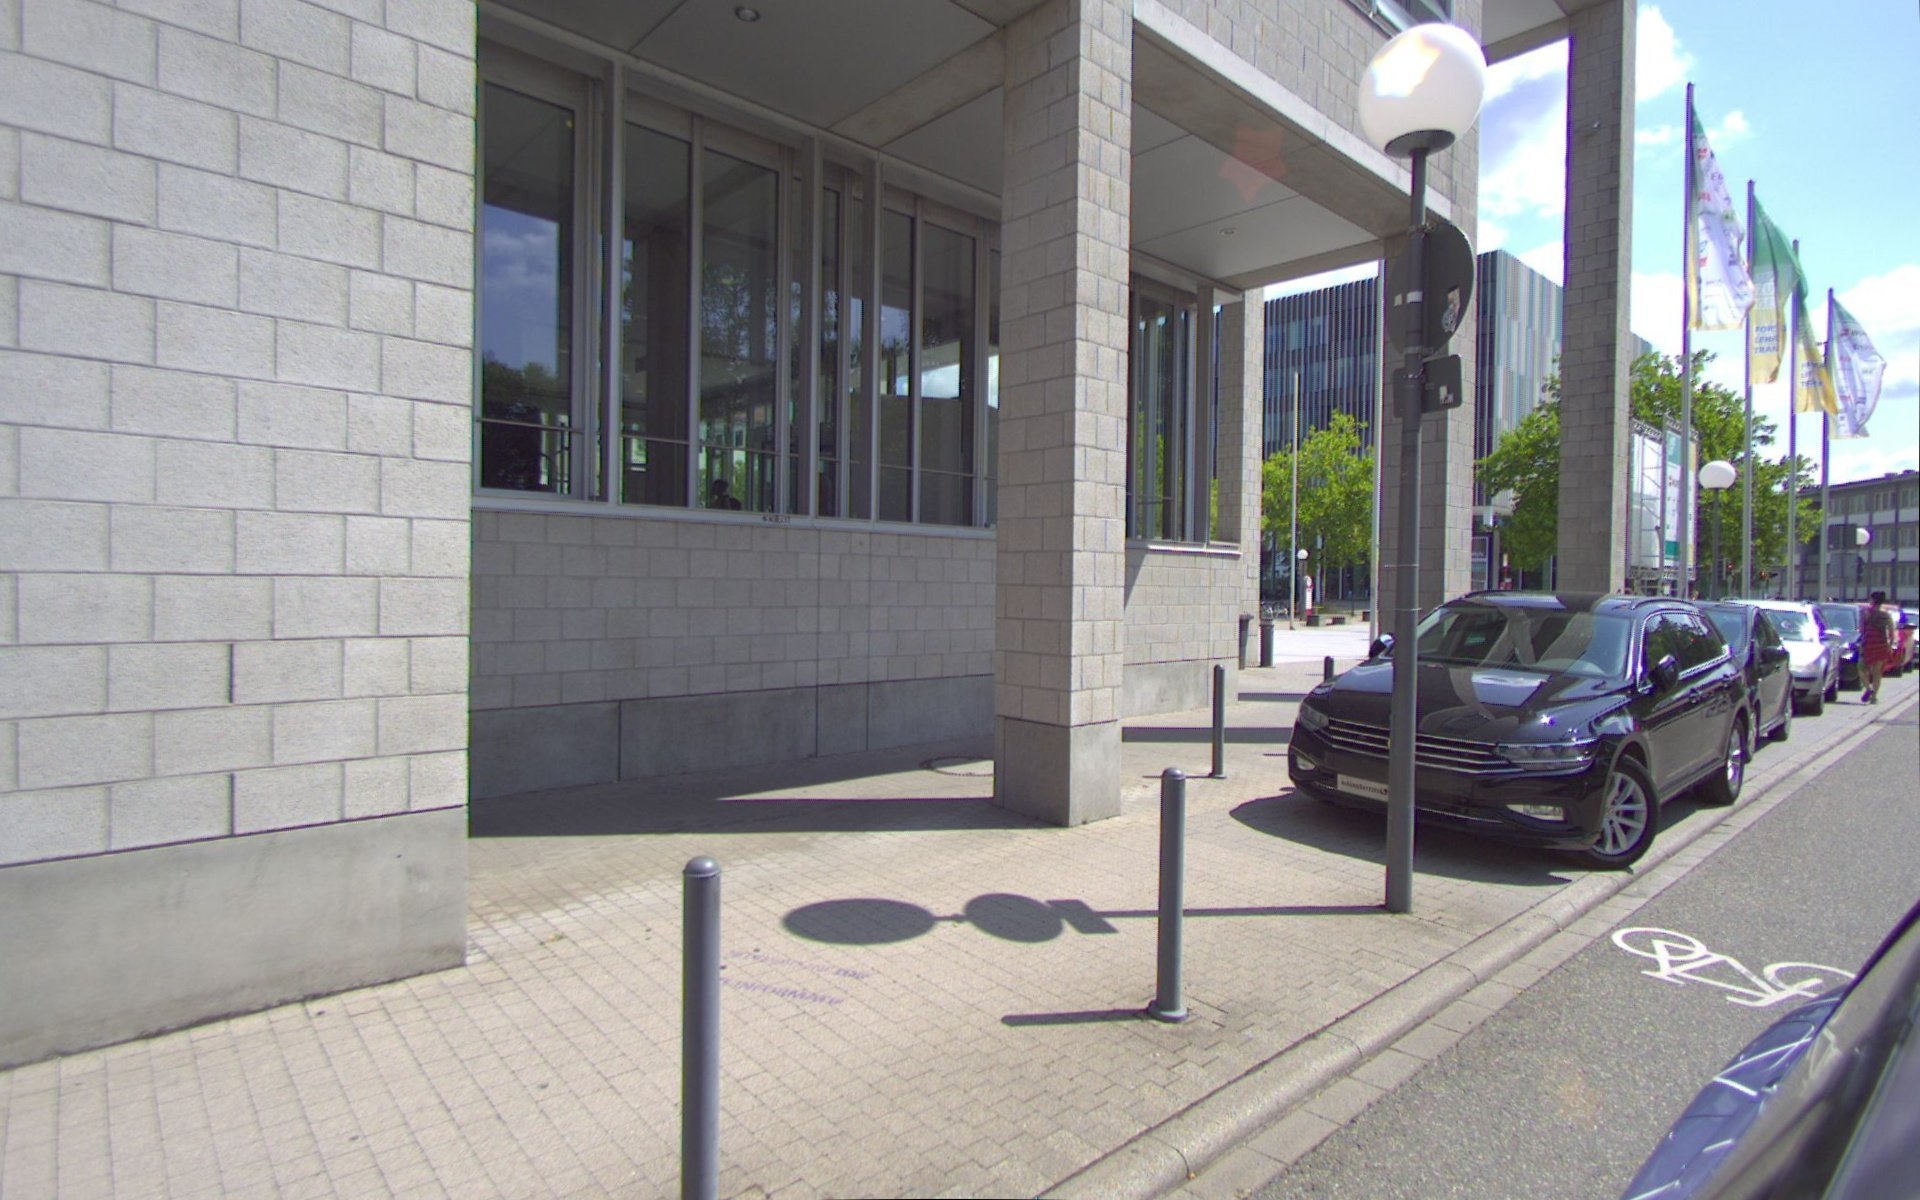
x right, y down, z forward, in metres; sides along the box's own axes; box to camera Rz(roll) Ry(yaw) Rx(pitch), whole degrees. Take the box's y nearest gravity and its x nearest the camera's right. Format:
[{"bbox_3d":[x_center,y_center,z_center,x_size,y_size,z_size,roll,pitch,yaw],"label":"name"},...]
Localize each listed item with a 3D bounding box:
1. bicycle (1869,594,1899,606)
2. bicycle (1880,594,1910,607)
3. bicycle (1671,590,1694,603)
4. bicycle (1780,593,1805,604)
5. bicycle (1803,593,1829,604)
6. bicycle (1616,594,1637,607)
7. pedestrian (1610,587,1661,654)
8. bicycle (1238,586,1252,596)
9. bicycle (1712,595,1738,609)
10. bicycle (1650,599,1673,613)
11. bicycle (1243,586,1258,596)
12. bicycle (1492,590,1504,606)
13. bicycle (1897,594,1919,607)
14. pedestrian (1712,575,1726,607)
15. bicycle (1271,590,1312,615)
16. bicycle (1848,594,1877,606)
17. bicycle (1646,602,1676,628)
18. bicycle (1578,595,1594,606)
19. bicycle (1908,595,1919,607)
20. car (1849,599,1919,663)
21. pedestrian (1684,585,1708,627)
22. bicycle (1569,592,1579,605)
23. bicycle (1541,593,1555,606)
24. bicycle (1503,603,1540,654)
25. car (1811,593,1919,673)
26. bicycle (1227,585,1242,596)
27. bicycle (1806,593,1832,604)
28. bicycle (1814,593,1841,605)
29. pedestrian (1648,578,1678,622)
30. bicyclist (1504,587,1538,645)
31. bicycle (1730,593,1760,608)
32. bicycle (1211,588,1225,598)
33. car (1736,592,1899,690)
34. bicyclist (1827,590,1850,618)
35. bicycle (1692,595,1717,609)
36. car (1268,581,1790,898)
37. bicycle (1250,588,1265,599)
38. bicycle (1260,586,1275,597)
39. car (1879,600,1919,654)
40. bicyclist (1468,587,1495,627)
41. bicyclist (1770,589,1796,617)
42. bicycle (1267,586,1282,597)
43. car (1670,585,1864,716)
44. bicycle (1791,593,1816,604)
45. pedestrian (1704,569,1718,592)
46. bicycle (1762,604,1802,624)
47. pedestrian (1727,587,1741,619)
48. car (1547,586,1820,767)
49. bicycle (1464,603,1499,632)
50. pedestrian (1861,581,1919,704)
[{"bbox_3d":[78.240,0.027,85.671,1.752,0.967,0.526,1,3,21],"label":"bicycle"},{"bbox_3d":[77.955,0.046,84.380,1.752,0.967,0.526,1,3,21],"label":"bicycle"},{"bbox_3d":[55.019,-0.253,77.097,0.519,0.967,1.773,0,2,2],"label":"bicycle"},{"bbox_3d":[80.952,-0.152,98.384,1.752,0.967,0.526,1,3,21],"label":"bicycle"},{"bbox_3d":[80.091,-0.122,94.737,1.752,0.967,0.526,1,3,21],"label":"bicycle"},{"bbox_3d":[51.572,0.022,78.330,0.519,0.967,1.772,-2,2,5],"label":"bicycle"},{"bbox_3d":[18.382,0.544,27.544,0.984,1.762,0.919,0,1,-42],"label":"pedestrian"},{"bbox_3d":[27.392,-0.889,97.290,1.515,0.967,0.374,-2,2,-27],"label":"bicycle"},{"bbox_3d":[58.062,0.131,76.789,0.518,0.967,1.775,0,2,-4],"label":"bicycle"},{"bbox_3d":[53.532,0.439,77.222,0.519,0.967,1.773,0,2,2],"label":"bicycle"},{"bbox_3d":[27.810,-0.870,96.789,1.515,0.967,0.374,-2,2,-27],"label":"bicycle"},{"bbox_3d":[42.550,-0.134,80.034,1.521,1.201,0.373,-3,4,-44],"label":"bicycle"},{"bbox_3d":[77.274,0.056,82.071,1.752,0.967,0.526,1,3,21],"label":"bicycle"},{"bbox_3d":[44.583,-0.535,59.444,0.629,1.864,0.474,1,2,34],"label":"pedestrian"},{"bbox_3d":[17.242,0.122,52.672,0.784,1.198,2.033,-1,2,-31],"label":"bicycle"},{"bbox_3d":[78.449,-0.012,87.987,1.752,0.967,0.526,1,3,21],"label":"bicycle"},{"bbox_3d":[31.690,0.680,45.724,0.815,1.086,1.861,3,-1,43],"label":"bicycle"},{"bbox_3d":[48.691,0.030,78.734,0.521,0.773,1.765,1,2,16],"label":"bicycle"},{"bbox_3d":[77.071,0.110,80.898,1.753,0.967,0.525,2,3,23],"label":"bicycle"},{"bbox_3d":[23.782,0.738,25.374,4.363,1.417,1.721,0,4,-42],"label":"car"},{"bbox_3d":[32.648,0.265,44.892,0.598,1.823,0.597,2,-1,-18],"label":"pedestrian"},{"bbox_3d":[47.949,-0.141,79.045,0.524,0.967,1.756,1,2,28],"label":"bicycle"},{"bbox_3d":[46.263,-0.016,79.631,0.367,0.967,1.769,1,2,9],"label":"bicycle"},{"bbox_3d":[13.353,0.665,24.105,0.601,1.152,1.575,2,0,24],"label":"bicycle"},{"bbox_3d":[20.180,0.664,22.256,4.075,1.515,1.617,0,3,-42],"label":"car"},{"bbox_3d":[26.618,-0.942,98.163,1.515,0.967,0.374,-2,2,-27],"label":"bicycle"},{"bbox_3d":[79.890,-0.131,94.113,1.752,0.967,0.526,1,3,21],"label":"bicycle"},{"bbox_3d":[79.448,-0.084,92.655,1.752,0.967,0.526,1,3,21],"label":"bicycle"},{"bbox_3d":[31.709,0.001,45.641,0.854,1.842,1.157,5,0,43],"label":"pedestrian"},{"bbox_3d":[13.365,0.383,24.123,0.601,1.337,0.736,2,0,24],"label":"bicyclist"},{"bbox_3d":[53.592,0.034,69.104,0.518,0.967,1.775,0,2,-4],"label":"bicycle"},{"bbox_3d":[25.440,-0.718,99.795,1.515,0.967,0.374,-2,2,-27],"label":"bicycle"},{"bbox_3d":[15.624,0.651,18.372,3.931,1.548,1.722,0,2,-42],"label":"car"},{"bbox_3d":[50.469,0.234,58.141,0.777,1.557,0.652,1,1,24],"label":"bicyclist"},{"bbox_3d":[56.687,0.128,77.084,0.518,0.967,1.775,0,2,-4],"label":"bicycle"},{"bbox_3d":[4.140,0.640,6.994,4.443,1.483,1.869,0,1,-43],"label":"car"},{"bbox_3d":[28.365,-0.596,96.538,1.515,0.967,0.374,-2,2,-27],"label":"bicycle"},{"bbox_3d":[29.184,-0.818,95.939,1.515,0.967,0.374,-2,2,-27],"label":"bicycle"},{"bbox_3d":[28.145,0.762,29.331,4.864,1.417,1.721,0,3,-42],"label":"car"},{"bbox_3d":[20.977,0.273,40.711,0.864,1.589,0.681,2,0,-42],"label":"bicyclist"},{"bbox_3d":[48.189,0.179,59.290,0.987,1.636,0.653,1,1,20],"label":"bicyclist"},{"bbox_3d":[29.600,-0.790,95.240,1.515,0.967,0.374,-2,2,-27],"label":"bicycle"},{"bbox_3d":[11.852,0.614,14.747,1.720,1.548,4.493,4,3,44],"label":"car"},{"bbox_3d":[80.453,-0.135,96.531,1.752,0.967,0.526,1,3,21],"label":"bicycle"},{"bbox_3d":[59.962,-1.553,80.759,0.828,1.812,0.677,0,1,-37],"label":"pedestrian"},{"bbox_3d":[48.177,0.806,59.301,1.651,1.138,0.690,1,1,21],"label":"bicycle"},{"bbox_3d":[45.153,0.174,59.060,0.571,1.864,0.411,1,2,34],"label":"pedestrian"},{"bbox_3d":[7.629,0.635,10.528,3.940,1.515,1.616,0,1,-44],"label":"car"},{"bbox_3d":[21.005,0.704,40.742,1.663,1.152,0.681,2,0,-42],"label":"bicycle"},{"bbox_3d":[13.794,0.604,14.968,0.623,1.738,1.024,2,1,44],"label":"pedestrian"}]
